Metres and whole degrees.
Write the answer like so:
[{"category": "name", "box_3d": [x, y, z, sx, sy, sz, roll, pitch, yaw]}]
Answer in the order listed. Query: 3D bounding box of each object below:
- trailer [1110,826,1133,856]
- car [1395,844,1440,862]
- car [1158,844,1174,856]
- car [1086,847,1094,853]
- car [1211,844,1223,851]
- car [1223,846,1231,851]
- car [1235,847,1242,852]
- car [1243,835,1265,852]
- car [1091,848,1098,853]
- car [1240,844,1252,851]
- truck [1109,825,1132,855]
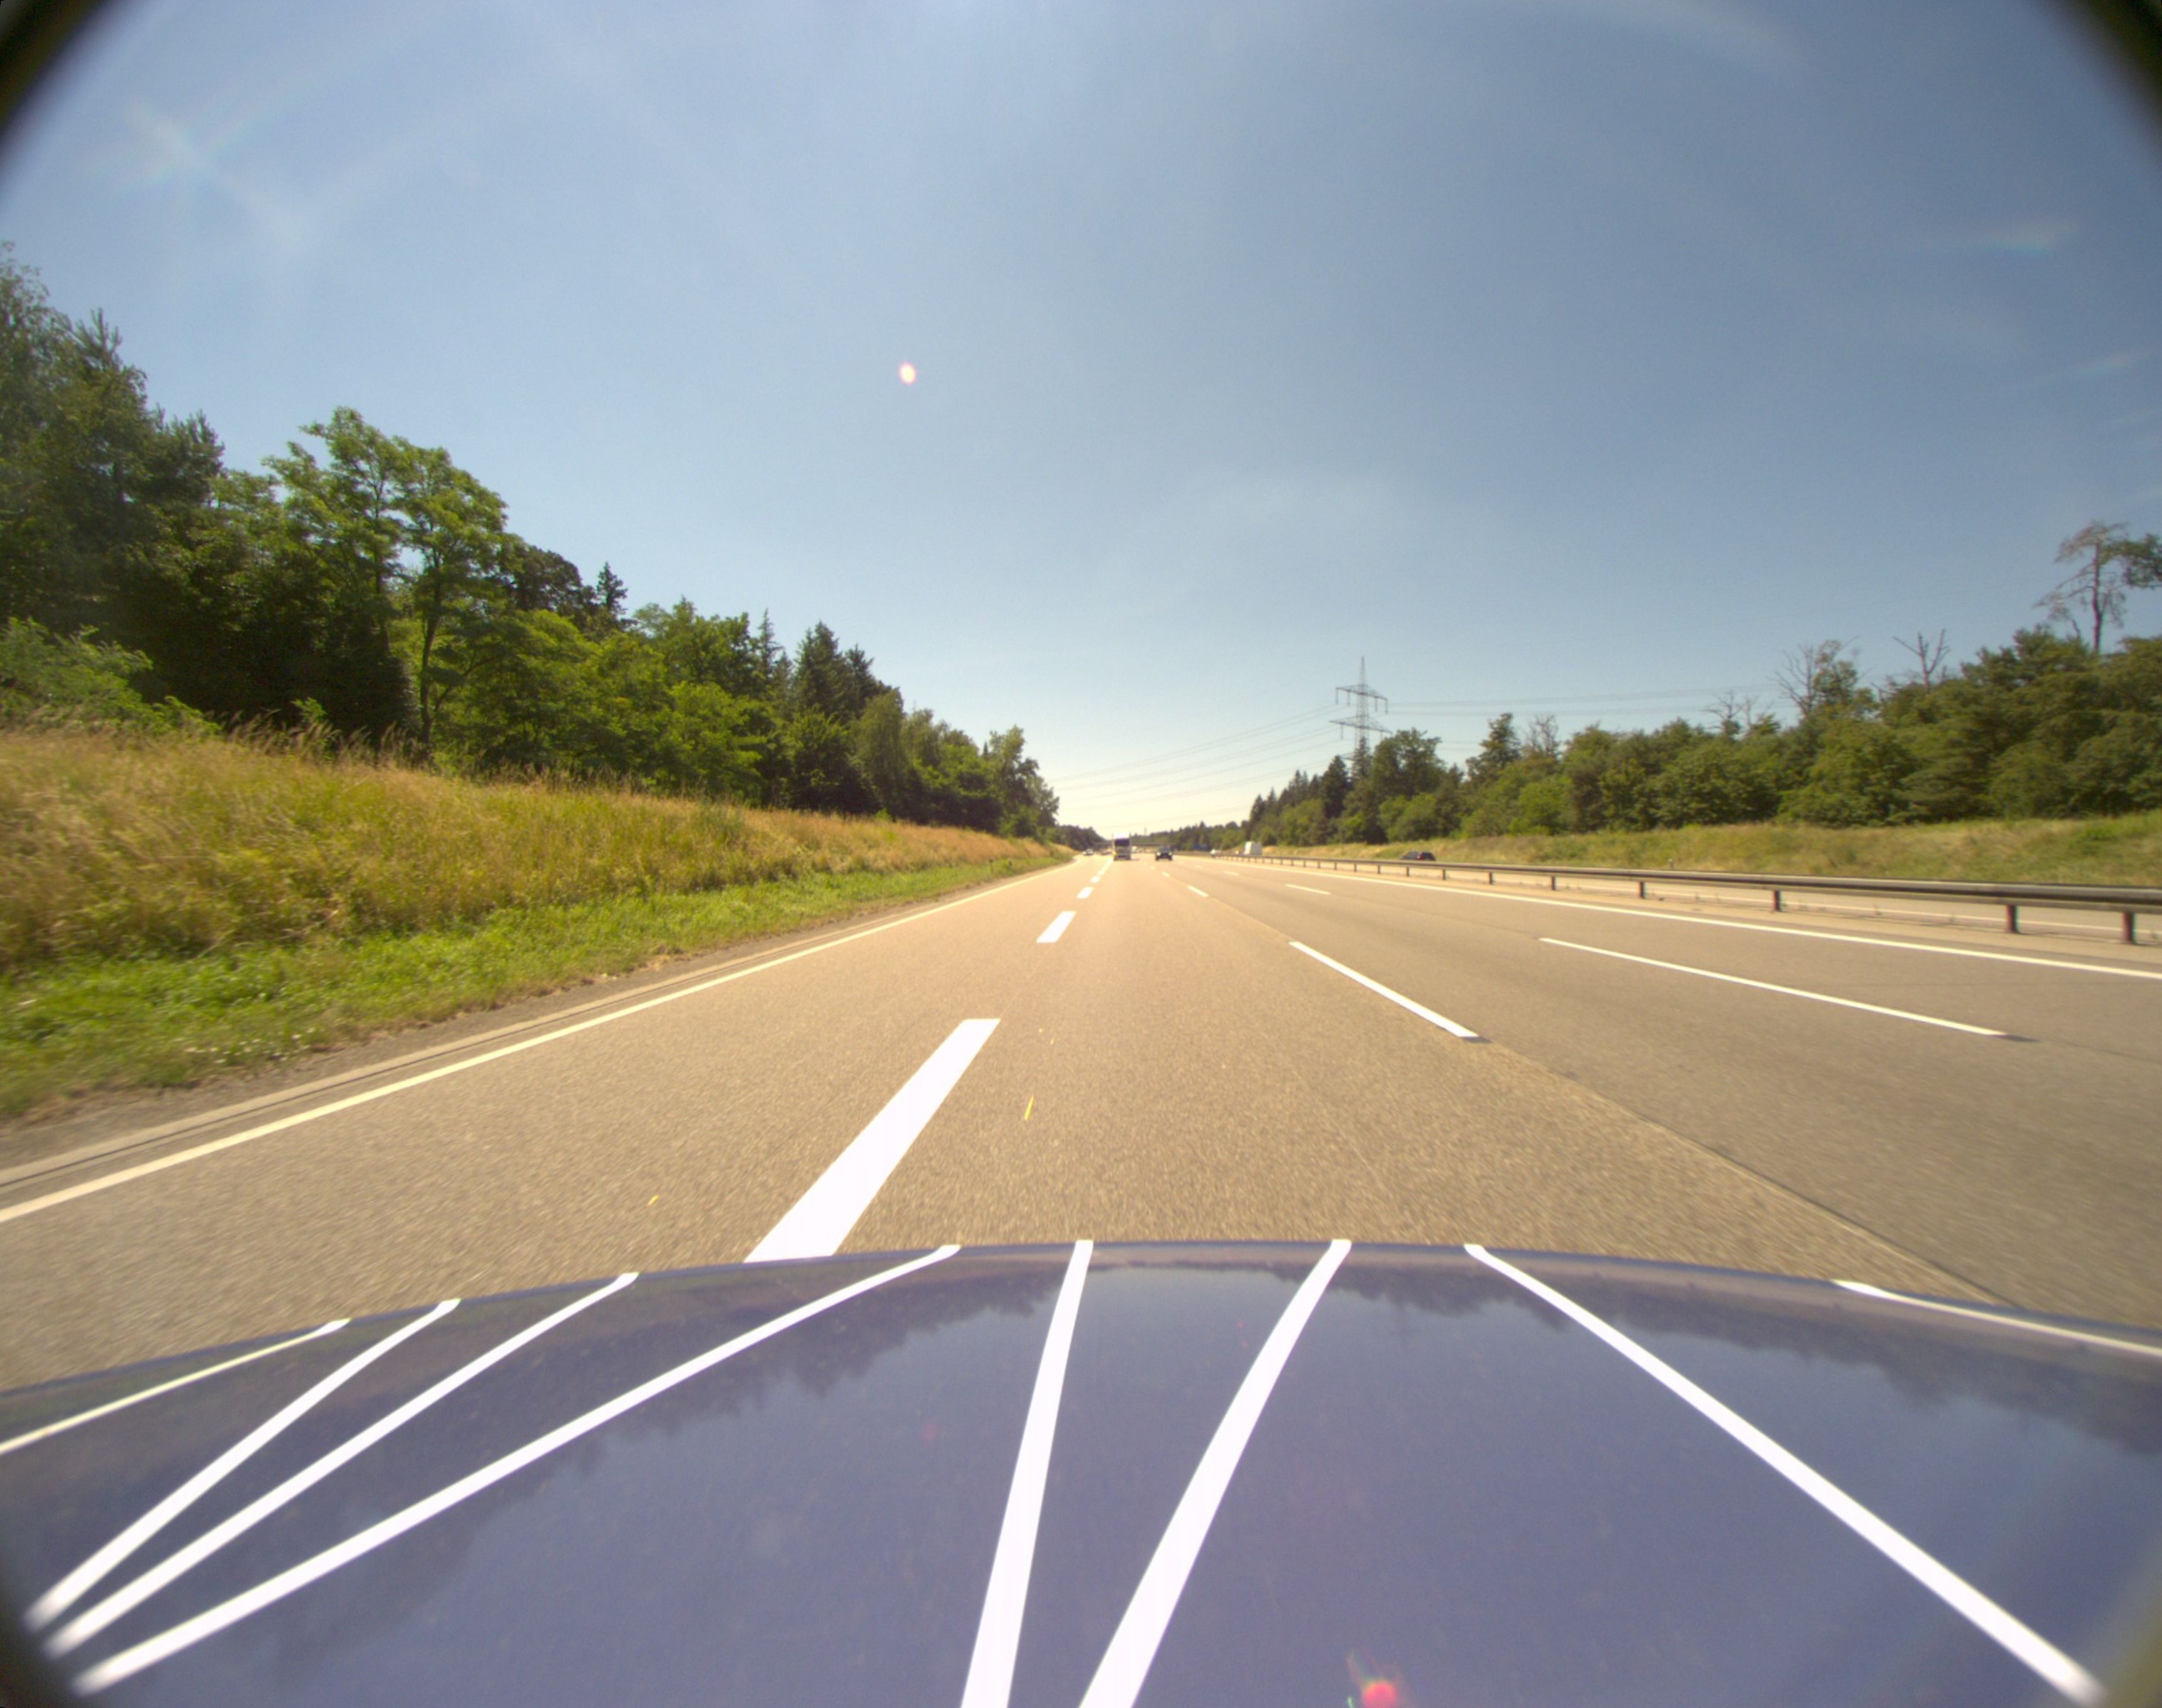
[{"category": "trailer", "box_3d": [6.143, -1.895, 112.937, 2.981, 4.118, 11.699, -1, 0, 5]}, {"category": "car", "box_3d": [29.423, -0.075, 66.569, 1.831, 1.501, 4.743, 0, 1, 1]}, {"category": "car", "box_3d": [10.763, -0.515, 96.267, 1.898, 1.417, 4.262, -2, 1, 5]}, {"category": "car", "box_3d": [2.476, -1.135, 216.800, 1.898, 1.417, 4.262, -2, 1, 5]}, {"category": "car", "box_3d": [26.687, -1.343, 149.442, 1.695, 1.383, 4.676, 1, 1, 3]}, {"category": "car", "box_3d": [43.244, -1.749, 224.804, 1.793, 1.412, 4.436, -2, 1, 4]}, {"category": "car", "box_3d": [51.176, -1.360, 246.411, 1.562, 1.518, 4.000, -2, 1, 4]}, {"category": "car", "box_3d": [28.942, -1.714, 127.254, 2.348, 2.695, 6.874, 1, 1, 3]}, {"category": "car", "box_3d": [4.188, -1.154, 240.090, 1.898, 1.417, 4.262, -2, 1, 5]}, {"category": "car", "box_3d": [34.594, -1.327, 159.212, 1.695, 1.383, 4.676, 1, 1, 3]}, {"category": "truck", "box_3d": [5.673, -1.889, 107.390, 2.979, 4.118, 5.350, -1, 0, 5]}]
